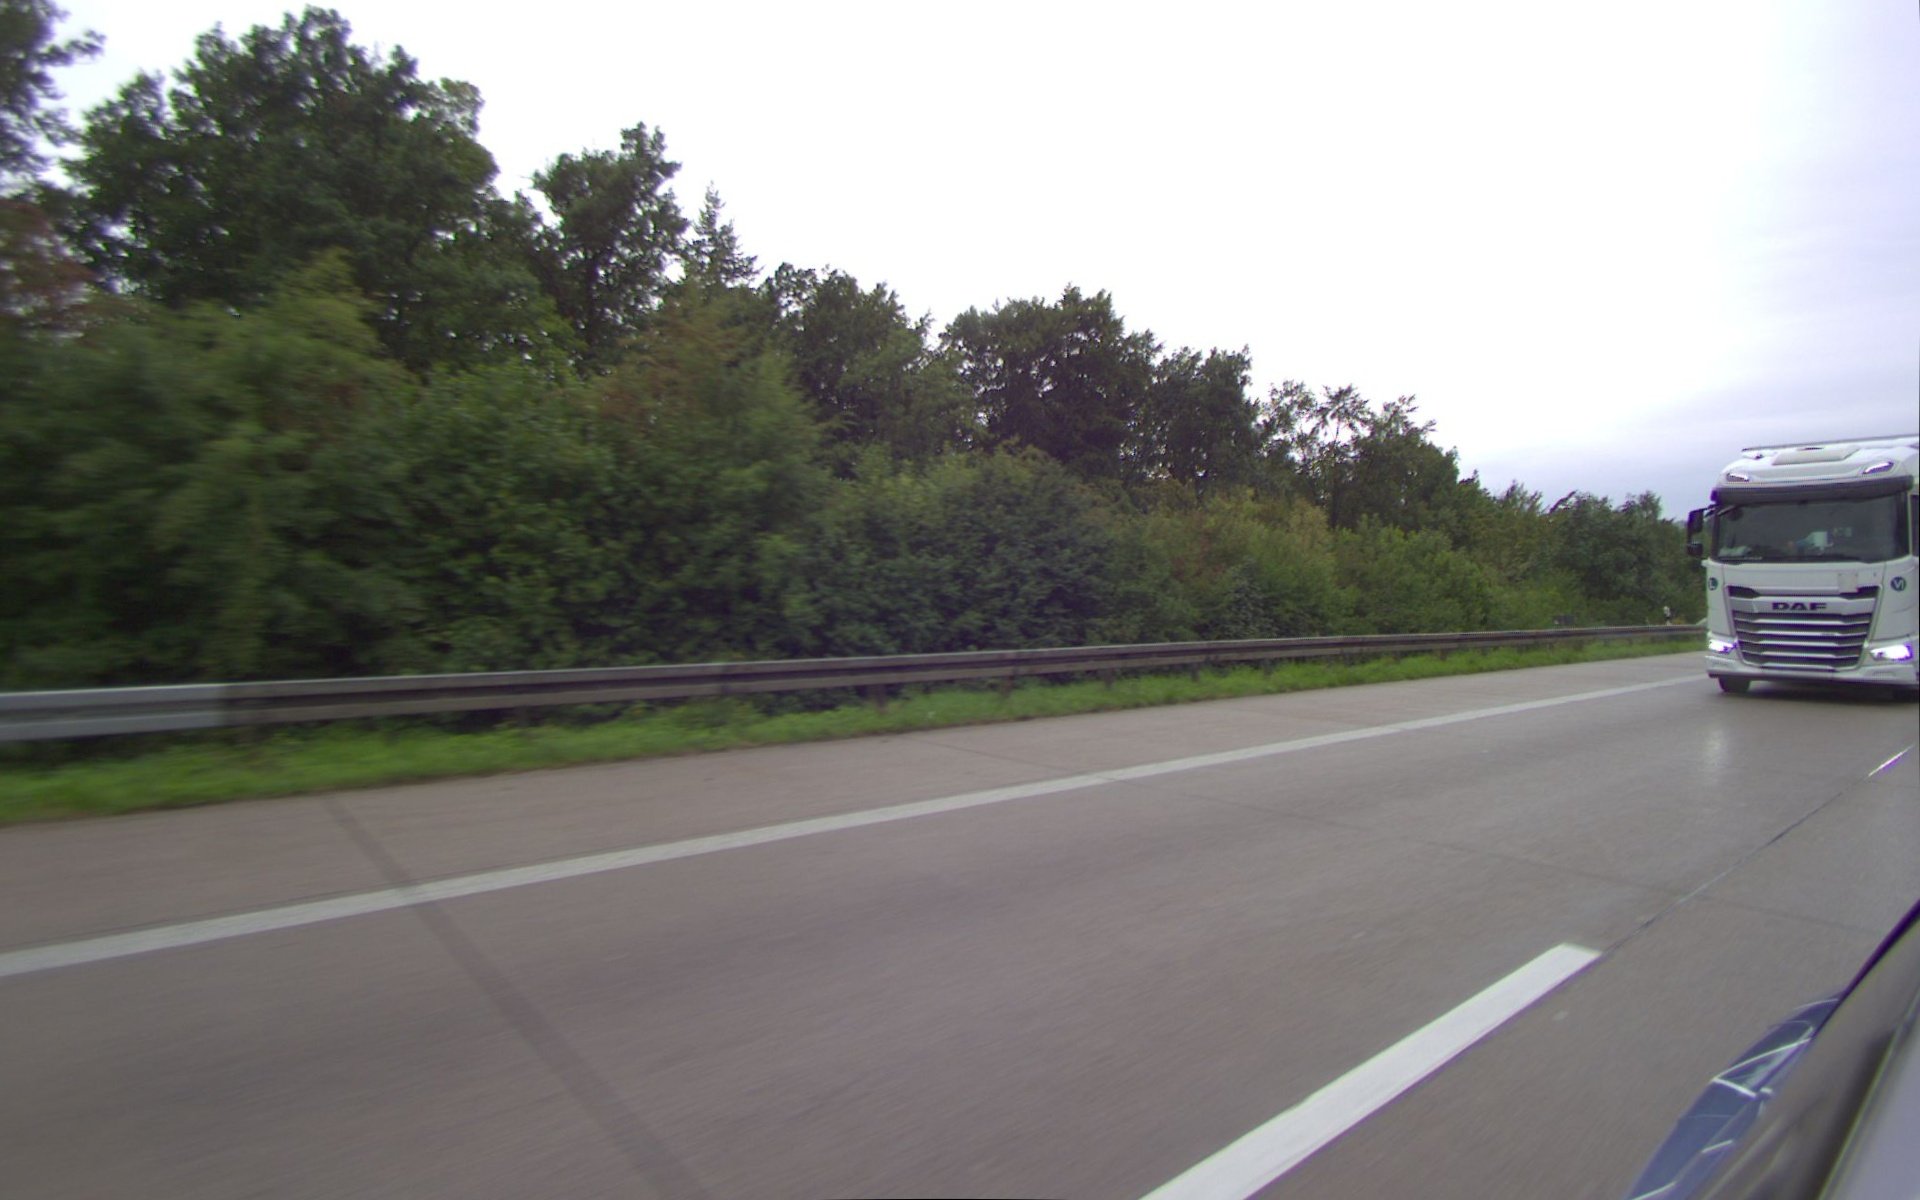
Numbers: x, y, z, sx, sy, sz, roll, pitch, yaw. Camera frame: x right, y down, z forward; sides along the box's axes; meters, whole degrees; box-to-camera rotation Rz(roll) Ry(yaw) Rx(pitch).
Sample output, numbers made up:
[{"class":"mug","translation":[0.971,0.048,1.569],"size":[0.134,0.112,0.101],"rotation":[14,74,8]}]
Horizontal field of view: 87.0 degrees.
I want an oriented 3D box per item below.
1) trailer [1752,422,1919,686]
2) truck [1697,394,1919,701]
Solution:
[{"class":"trailer","translation":[19.493,-0.741,20.580],"size":[13.462,4.092,2.684],"rotation":[0,1,-40]},{"class":"truck","translation":[14.273,-0.724,16.181],"size":[5.650,4.092,2.727],"rotation":[0,0,-40]}]
